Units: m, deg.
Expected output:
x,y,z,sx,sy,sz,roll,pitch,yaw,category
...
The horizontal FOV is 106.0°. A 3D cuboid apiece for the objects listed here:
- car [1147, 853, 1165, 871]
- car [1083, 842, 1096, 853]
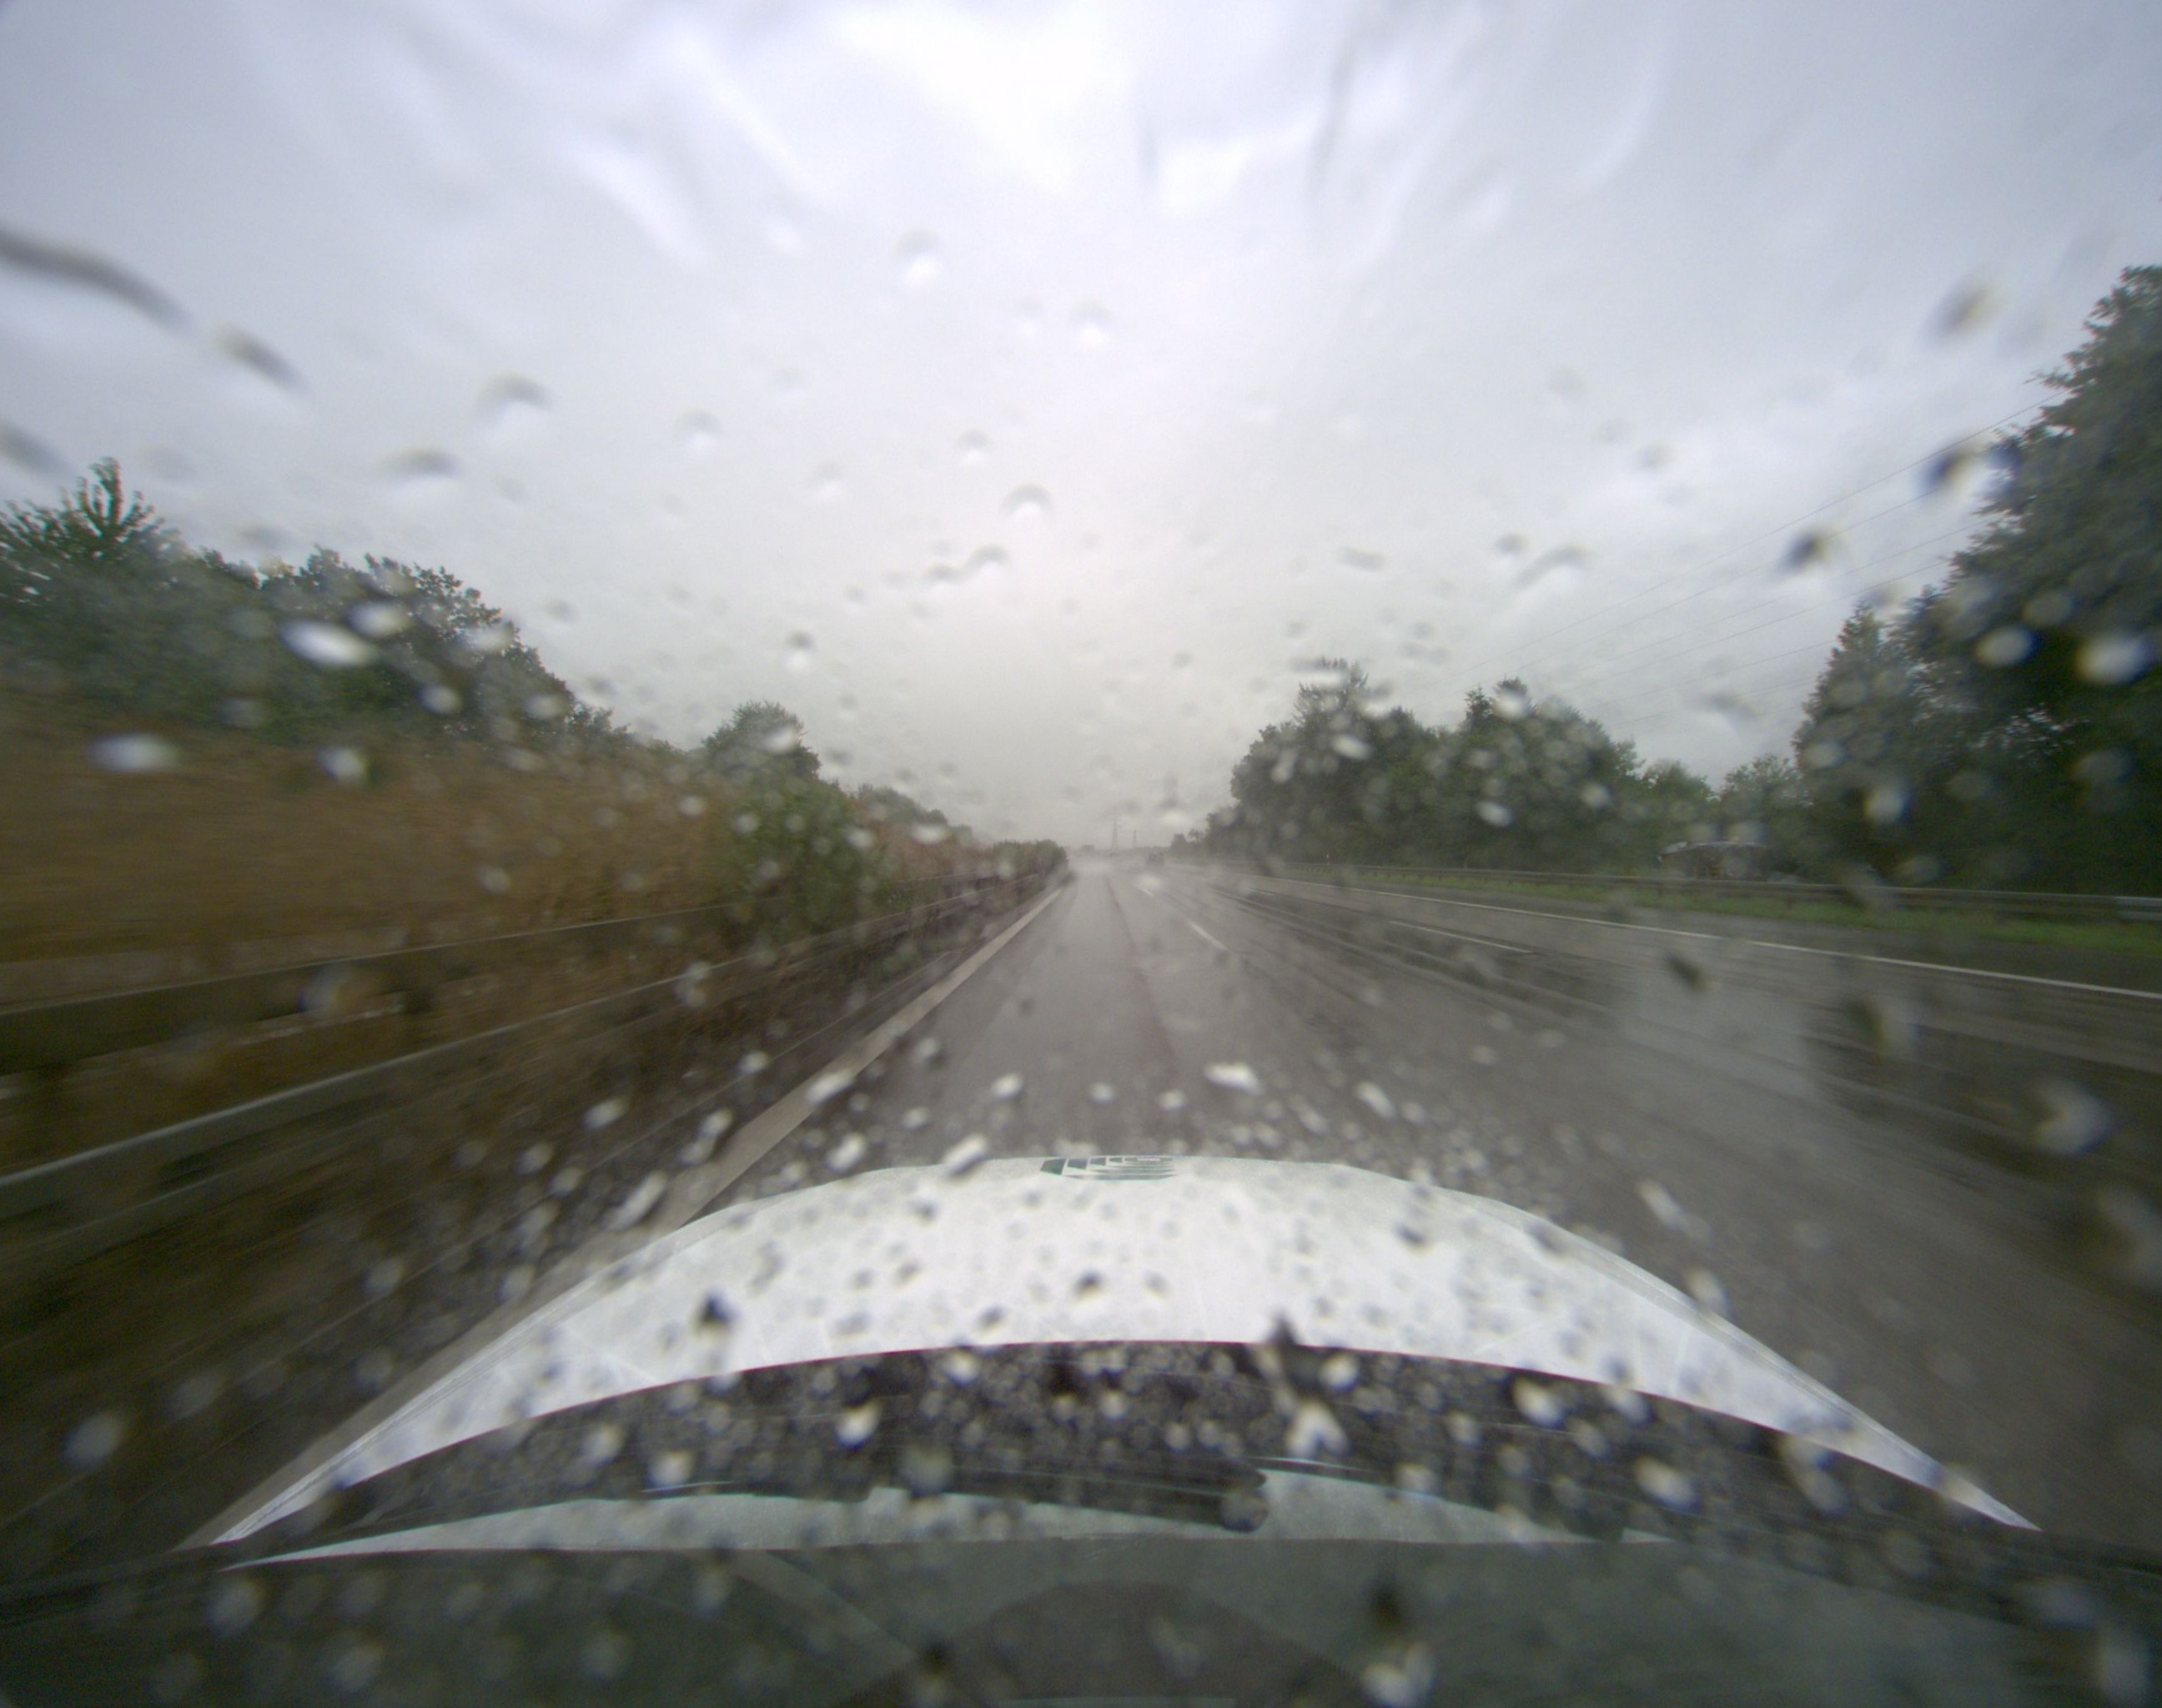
x,y,z,sx,sy,sz,roll,pitch,yaw,category
9.070,0.959,98.788,1.802,2.158,3.997,0,0,-2,car
2.529,-1.807,242.317,3.196,3.192,7.242,0,0,-6,car
